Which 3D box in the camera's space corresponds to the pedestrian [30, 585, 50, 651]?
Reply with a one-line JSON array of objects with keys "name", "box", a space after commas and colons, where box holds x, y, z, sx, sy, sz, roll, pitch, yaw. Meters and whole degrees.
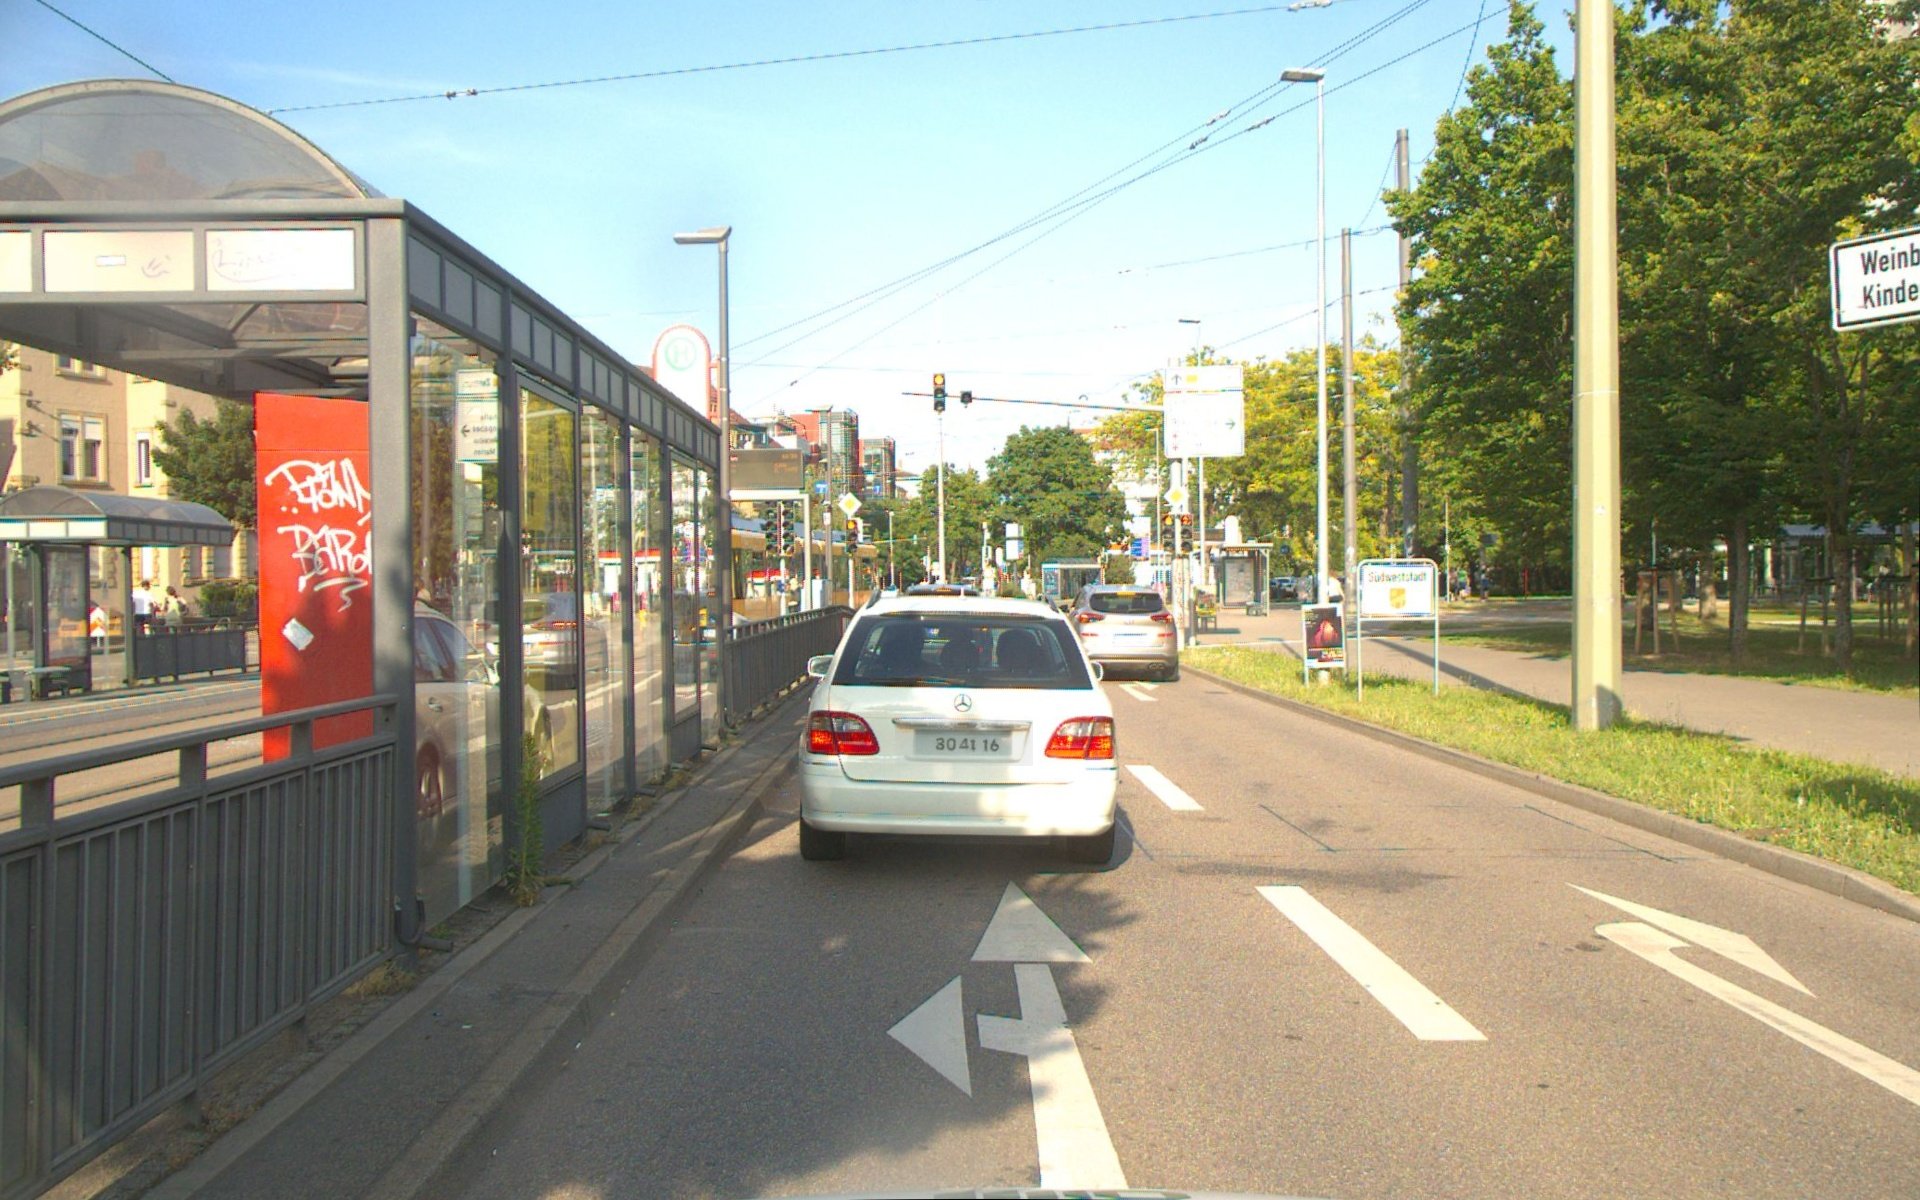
[{"name": "pedestrian", "box": [-29.012, 0.565, 52.160, 0.374, 2.049, 0.408, 0, 1, 17]}]

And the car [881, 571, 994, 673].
[{"name": "car", "box": [-0.331, 0.336, 29.828, 1.750, 1.719, 4.002, 0, 1, 3]}]

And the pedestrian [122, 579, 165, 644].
[{"name": "pedestrian", "box": [-22.485, 0.305, 45.569, 0.871, 1.783, 0.744, 0, 1, -12]}]

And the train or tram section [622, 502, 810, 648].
[{"name": "train or tram section", "box": [-6.575, -0.730, 47.061, 2.790, 3.540, 13.205, 0, 1, 3]}]

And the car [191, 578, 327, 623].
[{"name": "car", "box": [-26.996, -0.010, 63.883, 2.158, 1.656, 4.716, 0, 1, 22]}]

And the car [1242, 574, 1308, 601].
[{"name": "car", "box": [20.779, -0.830, 108.969, 3.907, 1.680, 1.999, -1, 0, 25]}]

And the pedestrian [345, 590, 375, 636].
[{"name": "pedestrian", "box": [-23.471, 0.497, 64.756, 0.868, 1.783, 0.746, 0, 1, 3]}]

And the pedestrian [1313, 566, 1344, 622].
[{"name": "pedestrian", "box": [11.169, -0.185, 50.162, 0.867, 1.681, 0.746, 0, 1, 7]}]

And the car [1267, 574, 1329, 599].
[{"name": "car", "box": [23.749, -0.949, 116.196, 3.941, 1.680, 1.982, -1, 0, -28]}]

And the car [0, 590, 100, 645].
[{"name": "car", "box": [-31.043, 0.562, 55.180, 3.903, 1.780, 2.001, 0, 1, 17]}]

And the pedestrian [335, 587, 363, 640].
[{"name": "pedestrian", "box": [-21.044, 0.464, 56.936, 0.651, 1.783, 0.746, 0, 1, 3]}]

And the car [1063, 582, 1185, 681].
[{"name": "car", "box": [2.844, 0.499, 29.463, 1.990, 1.633, 4.002, 0, 1, 3]}]

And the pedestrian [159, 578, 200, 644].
[{"name": "pedestrian", "box": [-21.594, 0.293, 45.771, 0.871, 1.783, 0.744, 0, 1, -12]}]

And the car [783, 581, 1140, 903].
[{"name": "car", "box": [0.023, 0.676, 10.141, 1.722, 1.529, 4.000, -1, 1, 0]}]

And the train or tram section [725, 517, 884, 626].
[{"name": "train or tram section", "box": [-5.344, -1.020, 60.110, 2.789, 3.540, 13.211, 0, 1, 8]}]

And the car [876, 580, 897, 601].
[{"name": "car", "box": [-7.338, -0.918, 165.479, 1.953, 2.049, 3.999, -1, 0, -1]}]
